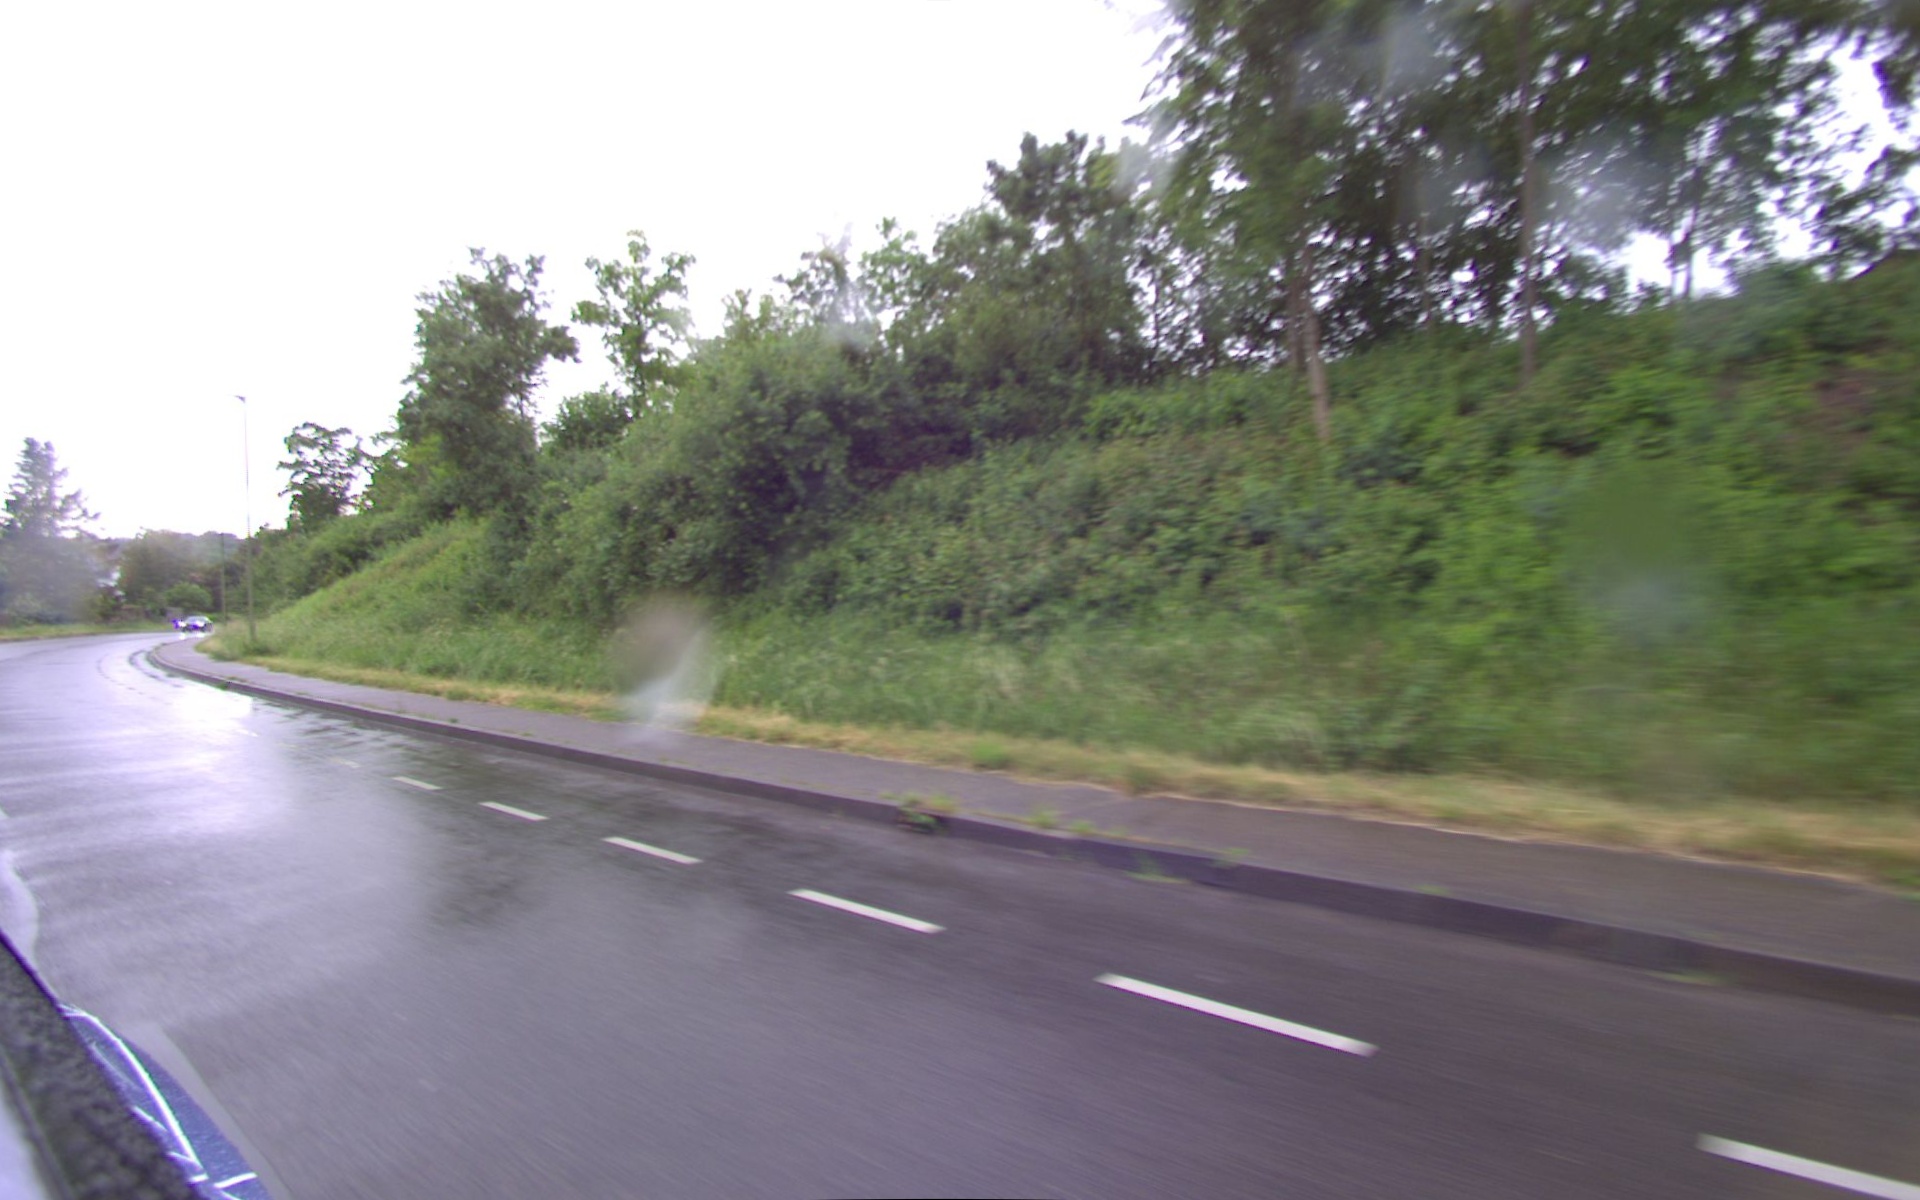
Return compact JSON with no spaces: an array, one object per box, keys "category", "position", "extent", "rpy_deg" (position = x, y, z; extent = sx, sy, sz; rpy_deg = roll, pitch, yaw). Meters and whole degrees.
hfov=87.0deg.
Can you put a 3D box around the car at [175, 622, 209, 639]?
[{"category":"car","position":[-72.636,2.894,95.761],"extent":[1.848,1.618,4.013],"rpy_deg":[1,-2,-28]}]
